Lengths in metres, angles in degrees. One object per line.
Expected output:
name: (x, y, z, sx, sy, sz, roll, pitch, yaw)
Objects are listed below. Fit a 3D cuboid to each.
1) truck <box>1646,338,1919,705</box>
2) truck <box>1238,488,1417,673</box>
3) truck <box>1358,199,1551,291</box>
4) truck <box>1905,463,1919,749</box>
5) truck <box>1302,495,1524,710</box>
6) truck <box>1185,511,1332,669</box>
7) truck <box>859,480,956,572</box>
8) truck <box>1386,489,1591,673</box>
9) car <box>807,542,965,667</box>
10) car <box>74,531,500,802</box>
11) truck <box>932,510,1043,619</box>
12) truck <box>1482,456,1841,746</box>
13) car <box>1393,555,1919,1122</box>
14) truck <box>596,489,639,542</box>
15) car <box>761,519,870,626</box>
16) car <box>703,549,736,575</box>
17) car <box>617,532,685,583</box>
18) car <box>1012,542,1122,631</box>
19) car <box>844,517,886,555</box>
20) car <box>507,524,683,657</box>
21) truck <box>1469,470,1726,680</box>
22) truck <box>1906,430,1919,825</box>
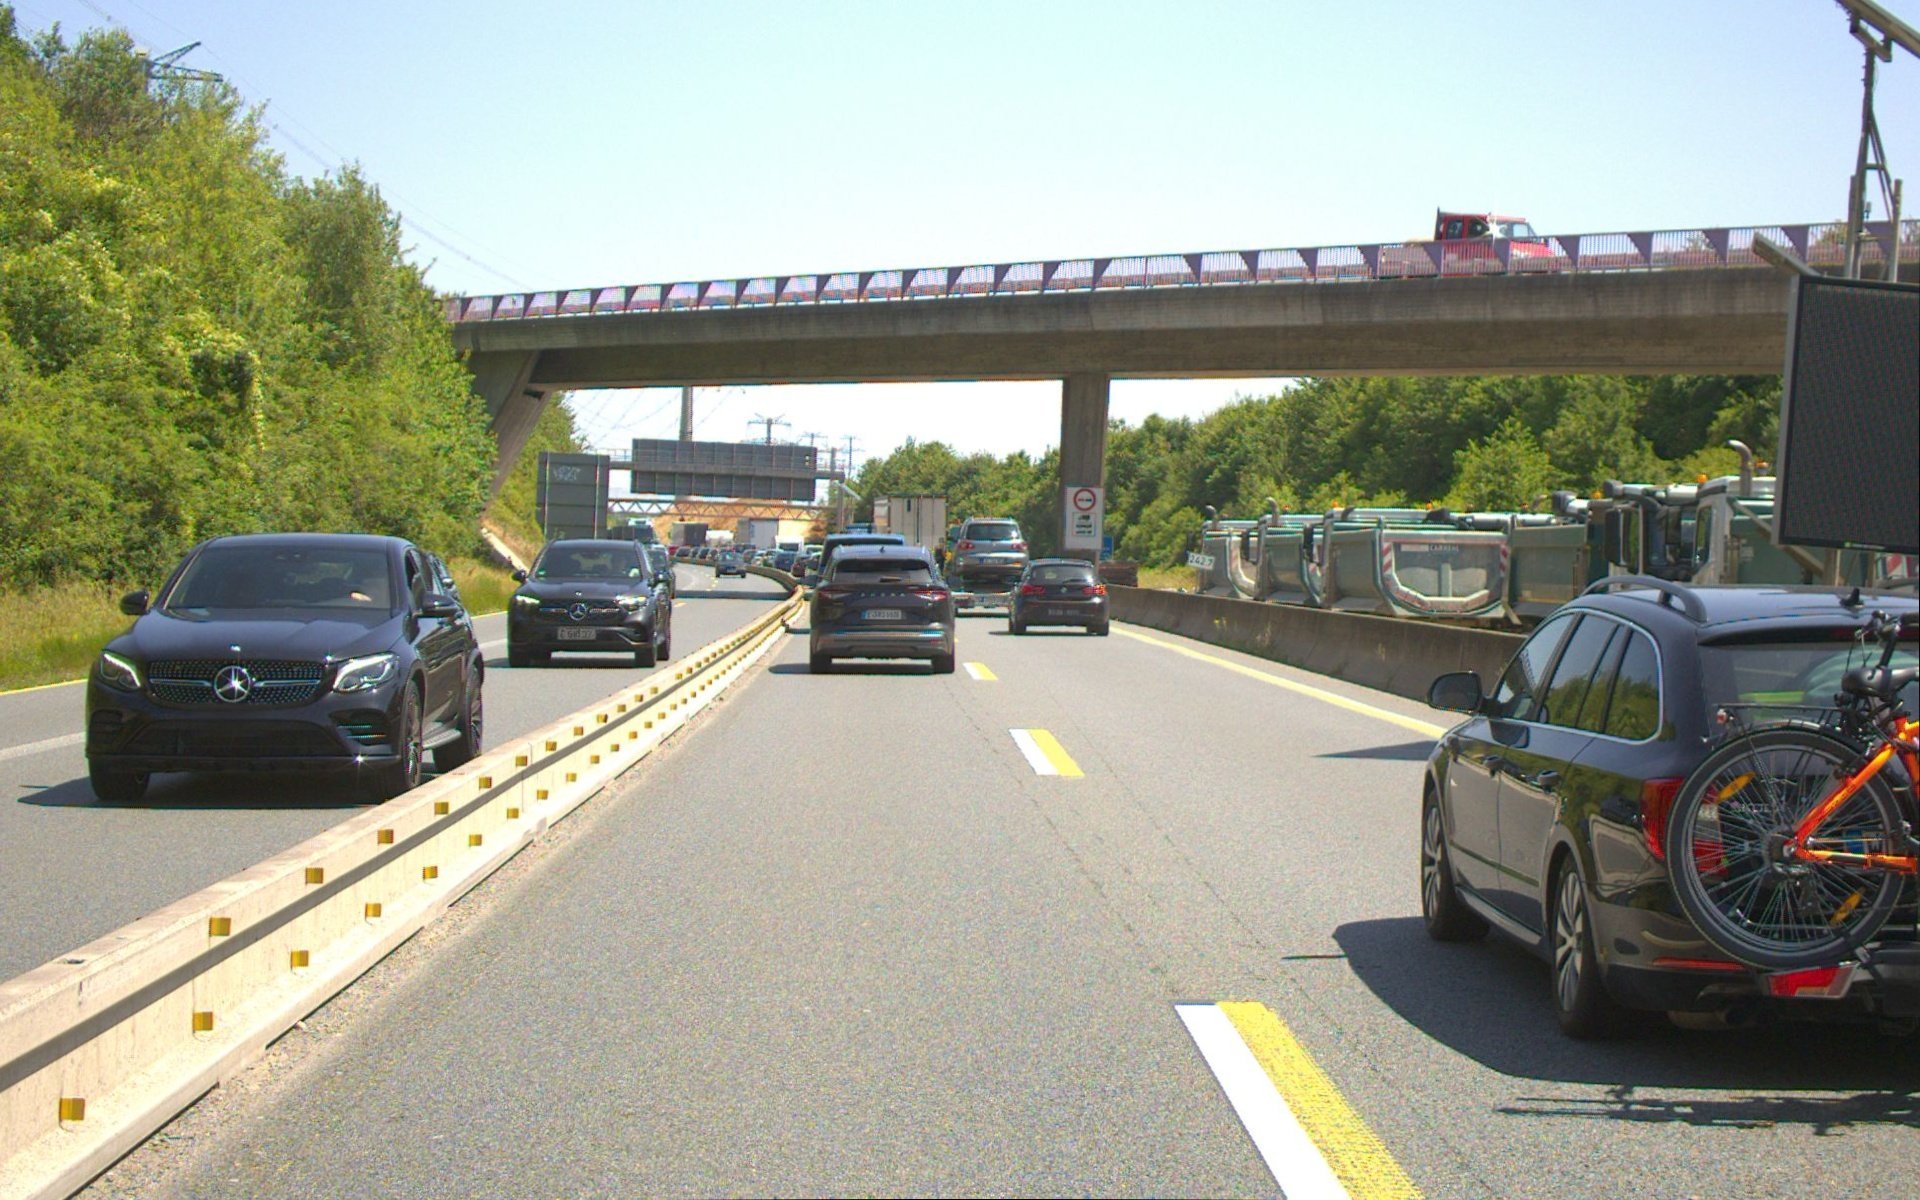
truck: (10.037, -0.817, 38.023, 2.687, 3.545, 9.326, 1, 1, -2)
truck: (8.105, -0.488, 76.886, 2.687, 3.843, 9.326, 1, 1, -2)
truck: (13.655, -9.786, 95.232, 1.931, 2.059, 5.514, 1, 1, -37)
truck: (12.792, 0.161, 36.150, 2.687, 3.366, 9.604, 1, 1, -2)
truck: (8.461, -0.034, 65.339, 2.687, 3.748, 9.326, 1, 1, -2)
truck: (7.649, -0.323, 89.314, 2.687, 3.830, 9.326, 1, 1, -2)
truck: (-2.350, -3.195, 150.056, 3.292, 3.832, 10.112, 1, 1, -6)
truck: (11.377, -0.462, 74.960, 2.687, 3.714, 9.326, 1, 1, -2)
car: (-0.907, 0.030, 44.170, 1.899, 1.500, 4.276, 1, 1, 0)
car: (-4.131, 0.339, 21.845, 1.843, 1.528, 4.671, 0, 1, -1)
truck: (0.628, -0.932, 85.625, 2.405, 2.549, 7.501, 1, 1, -2)
truck: (9.400, -0.060, 47.279, 2.687, 3.545, 9.326, 1, 1, -2)
car: (2.738, 0.621, 11.562, 1.899, 1.485, 4.947, 1, 0, 0)
truck: (-21.389, -5.259, 214.557, 2.508, 3.175, 10.112, 1, 1, -6)
car: (-2.744, -0.541, 66.112, 1.899, 1.962, 4.276, 1, 1, 0)
car: (-13.518, -2.122, 193.530, 1.673, 1.388, 4.071, 1, 0, -2)
car: (-9.774, -1.349, 108.999, 1.778, 1.571, 4.069, 1, 1, 0)
car: (1.988, -0.276, 65.162, 1.899, 1.580, 4.276, 1, 1, 0)
car: (-5.122, -3.430, 184.627, 1.899, 1.962, 4.277, 1, 1, -6)
car: (-4.790, -0.157, 45.703, 1.843, 1.605, 4.699, 2, 1, -1)
truck: (11.608, -0.502, 63.538, 2.687, 3.545, 9.326, 1, 1, -2)
truck: (10.000, 0.336, 26.564, 2.687, 3.545, 9.406, 1, 1, 0)
